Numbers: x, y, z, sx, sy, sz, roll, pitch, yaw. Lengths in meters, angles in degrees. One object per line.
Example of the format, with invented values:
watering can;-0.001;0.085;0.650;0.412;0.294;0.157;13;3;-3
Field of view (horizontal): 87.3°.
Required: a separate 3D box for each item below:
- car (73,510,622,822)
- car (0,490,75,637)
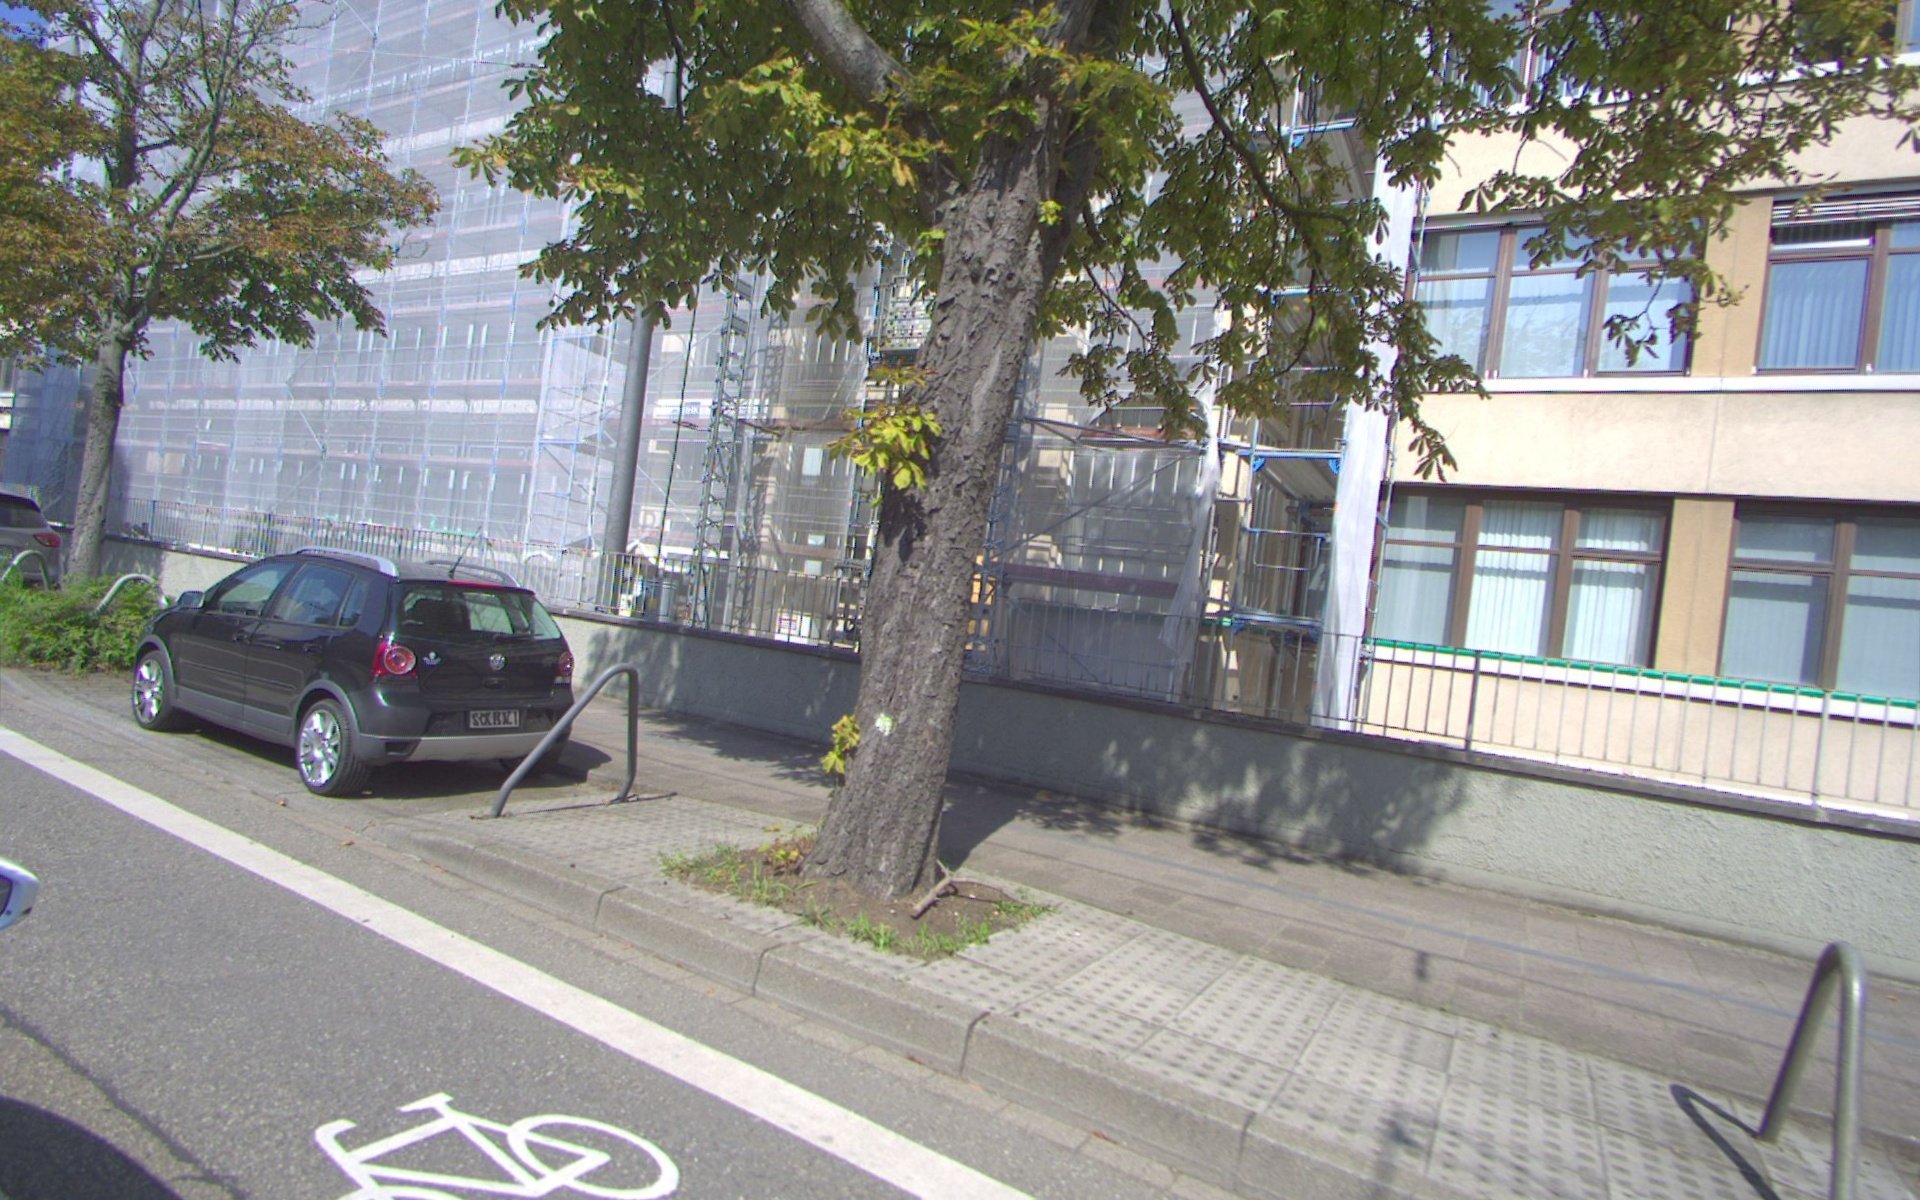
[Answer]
car;-4.737;0.379;7.647;4.117;1.603;1.638;7;-2;30
car;-13.242;-0.690;12.647;4.287;1.687;1.745;7;-2;30
